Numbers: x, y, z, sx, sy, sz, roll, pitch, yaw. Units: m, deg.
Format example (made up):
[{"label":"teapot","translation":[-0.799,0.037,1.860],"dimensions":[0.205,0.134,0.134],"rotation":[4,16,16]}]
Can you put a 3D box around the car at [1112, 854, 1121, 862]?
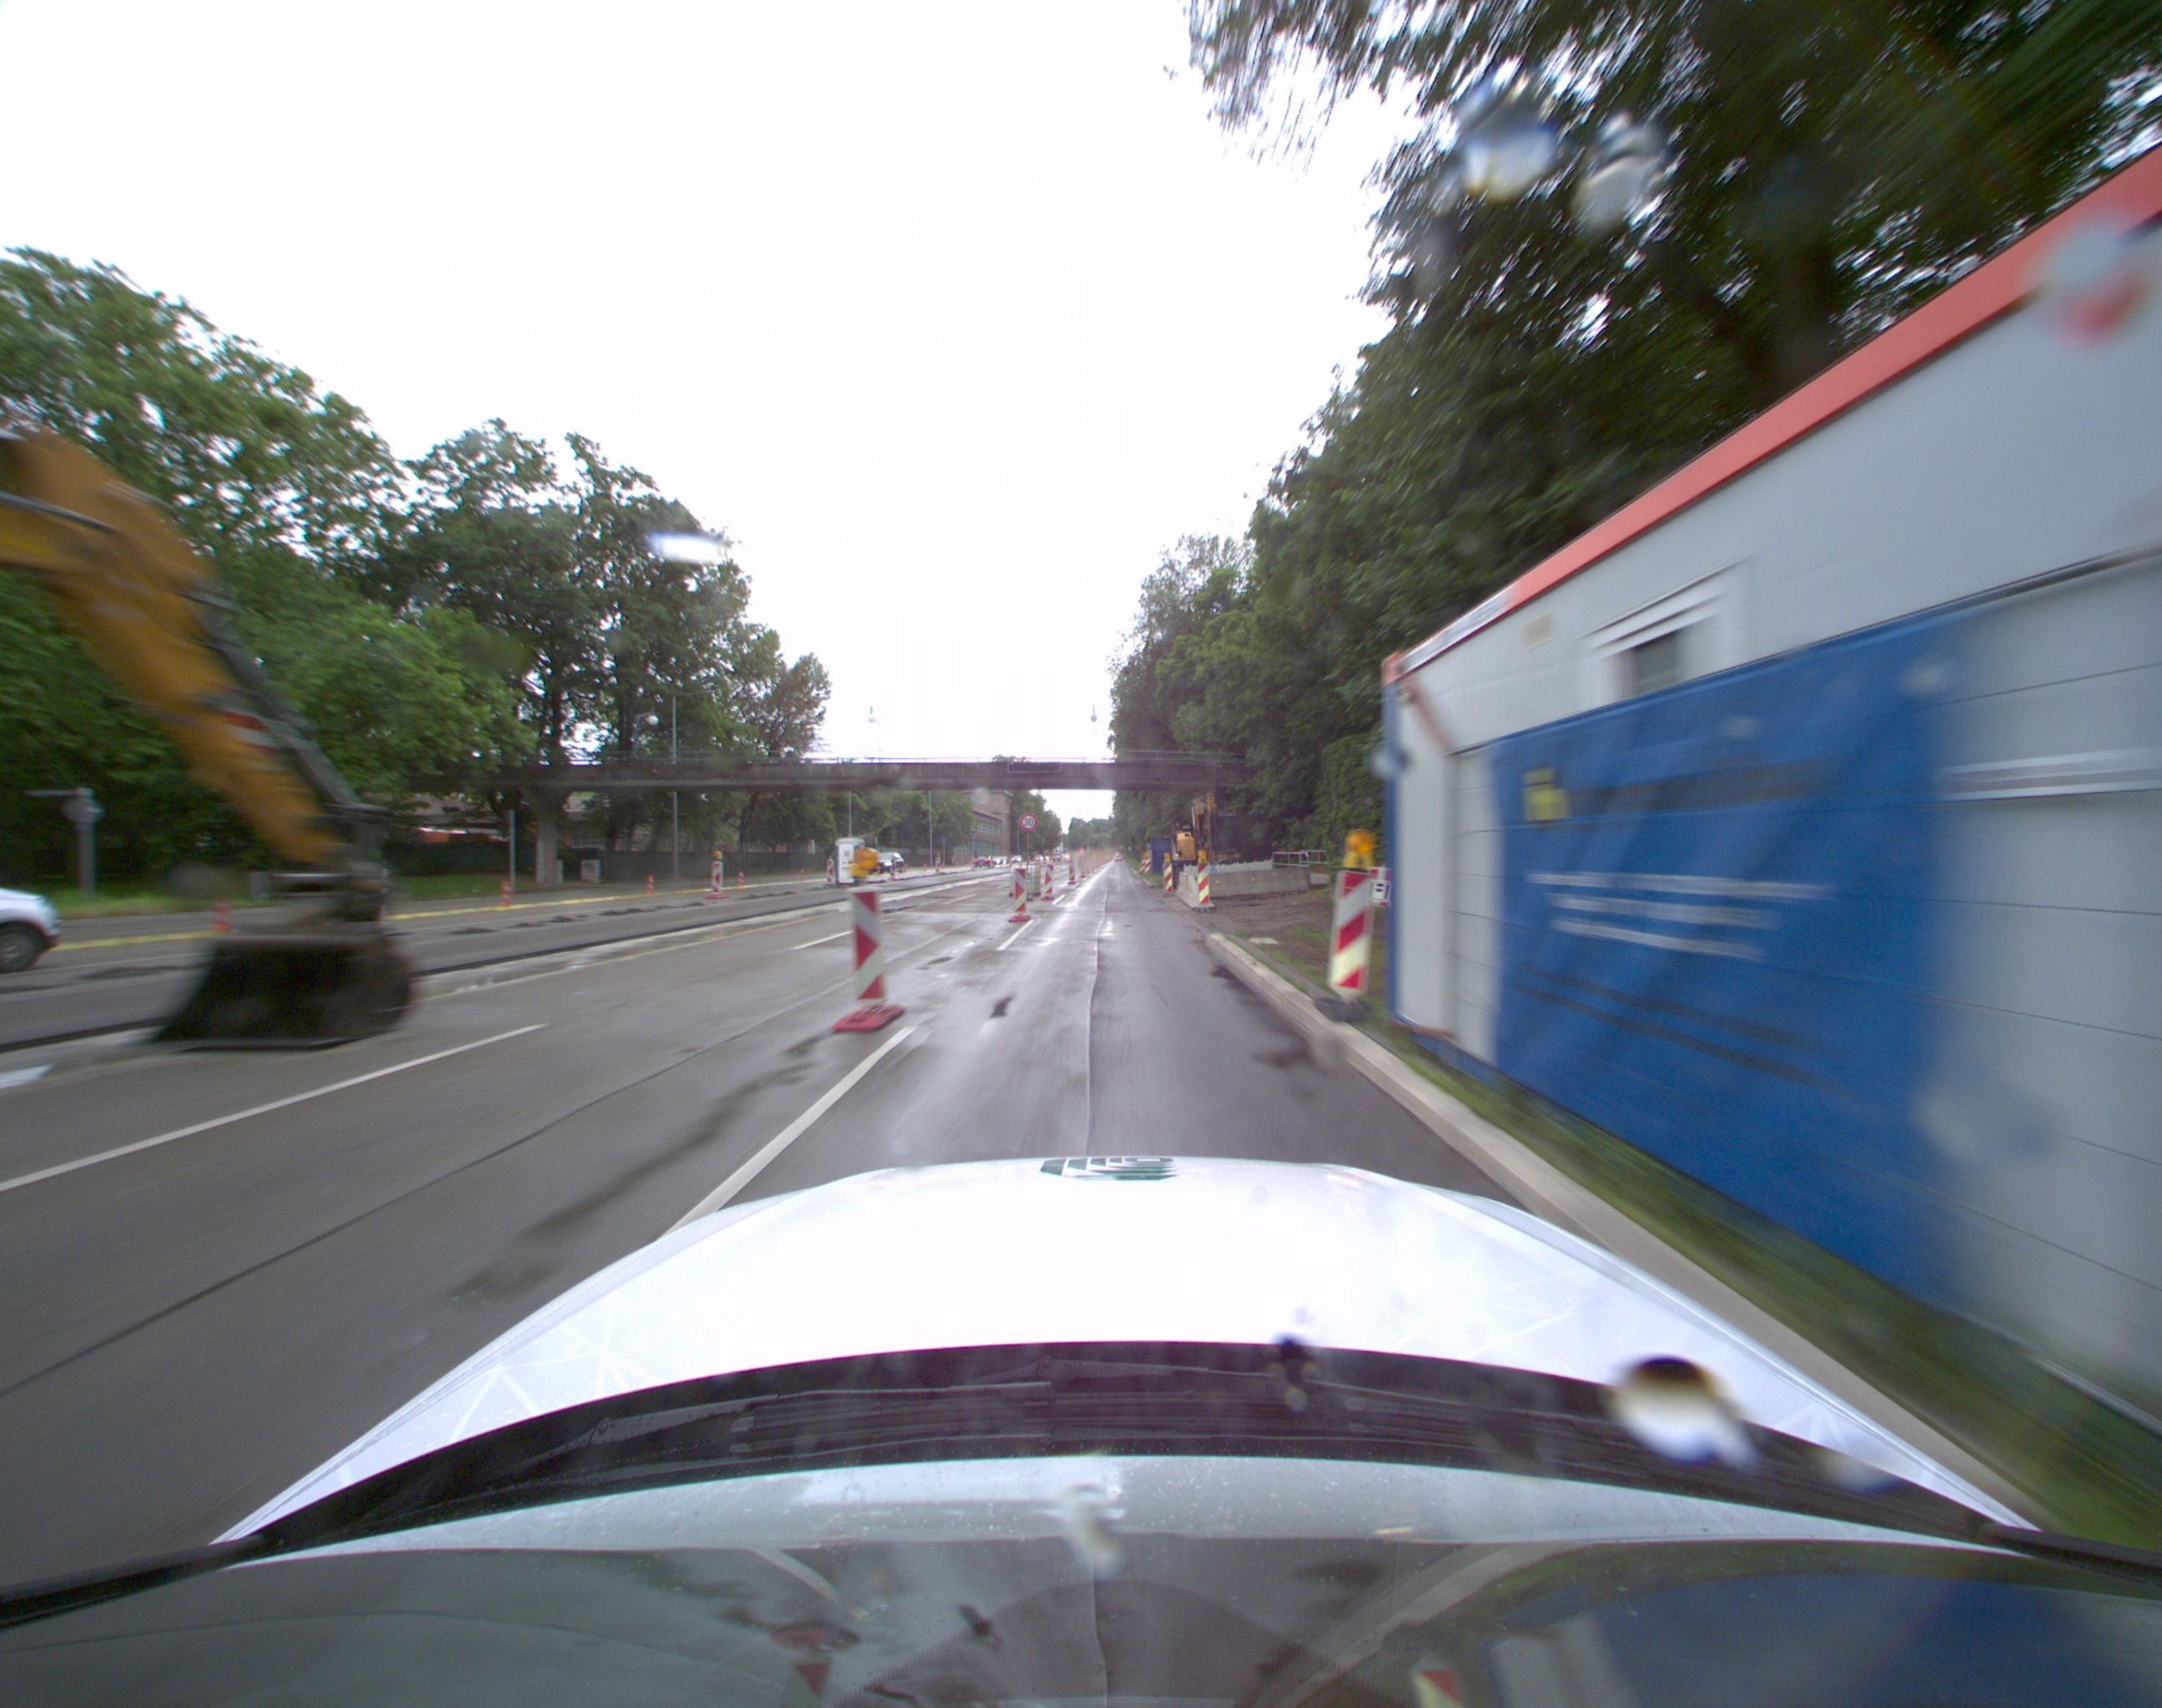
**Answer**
[{"label":"car","translation":[8.233,0.896,186.825],"dimensions":[1.986,1.640,4.002],"rotation":[-1,0,2]}]

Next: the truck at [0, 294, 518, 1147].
[{"label":"truck","translation":[-6.775,-0.670,2.589],"dimensions":[2.890,4.259,10.744],"rotation":[0,0,-3]}]

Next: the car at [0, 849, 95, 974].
[{"label":"car","translation":[-14.532,0.720,8.987],"dimensions":[1.881,1.564,4.365],"rotation":[1,0,2]}]

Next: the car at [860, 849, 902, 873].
[{"label":"car","translation":[-16.110,0.577,65.893],"dimensions":[1.963,1.806,4.611],"rotation":[-1,0,3]}]
